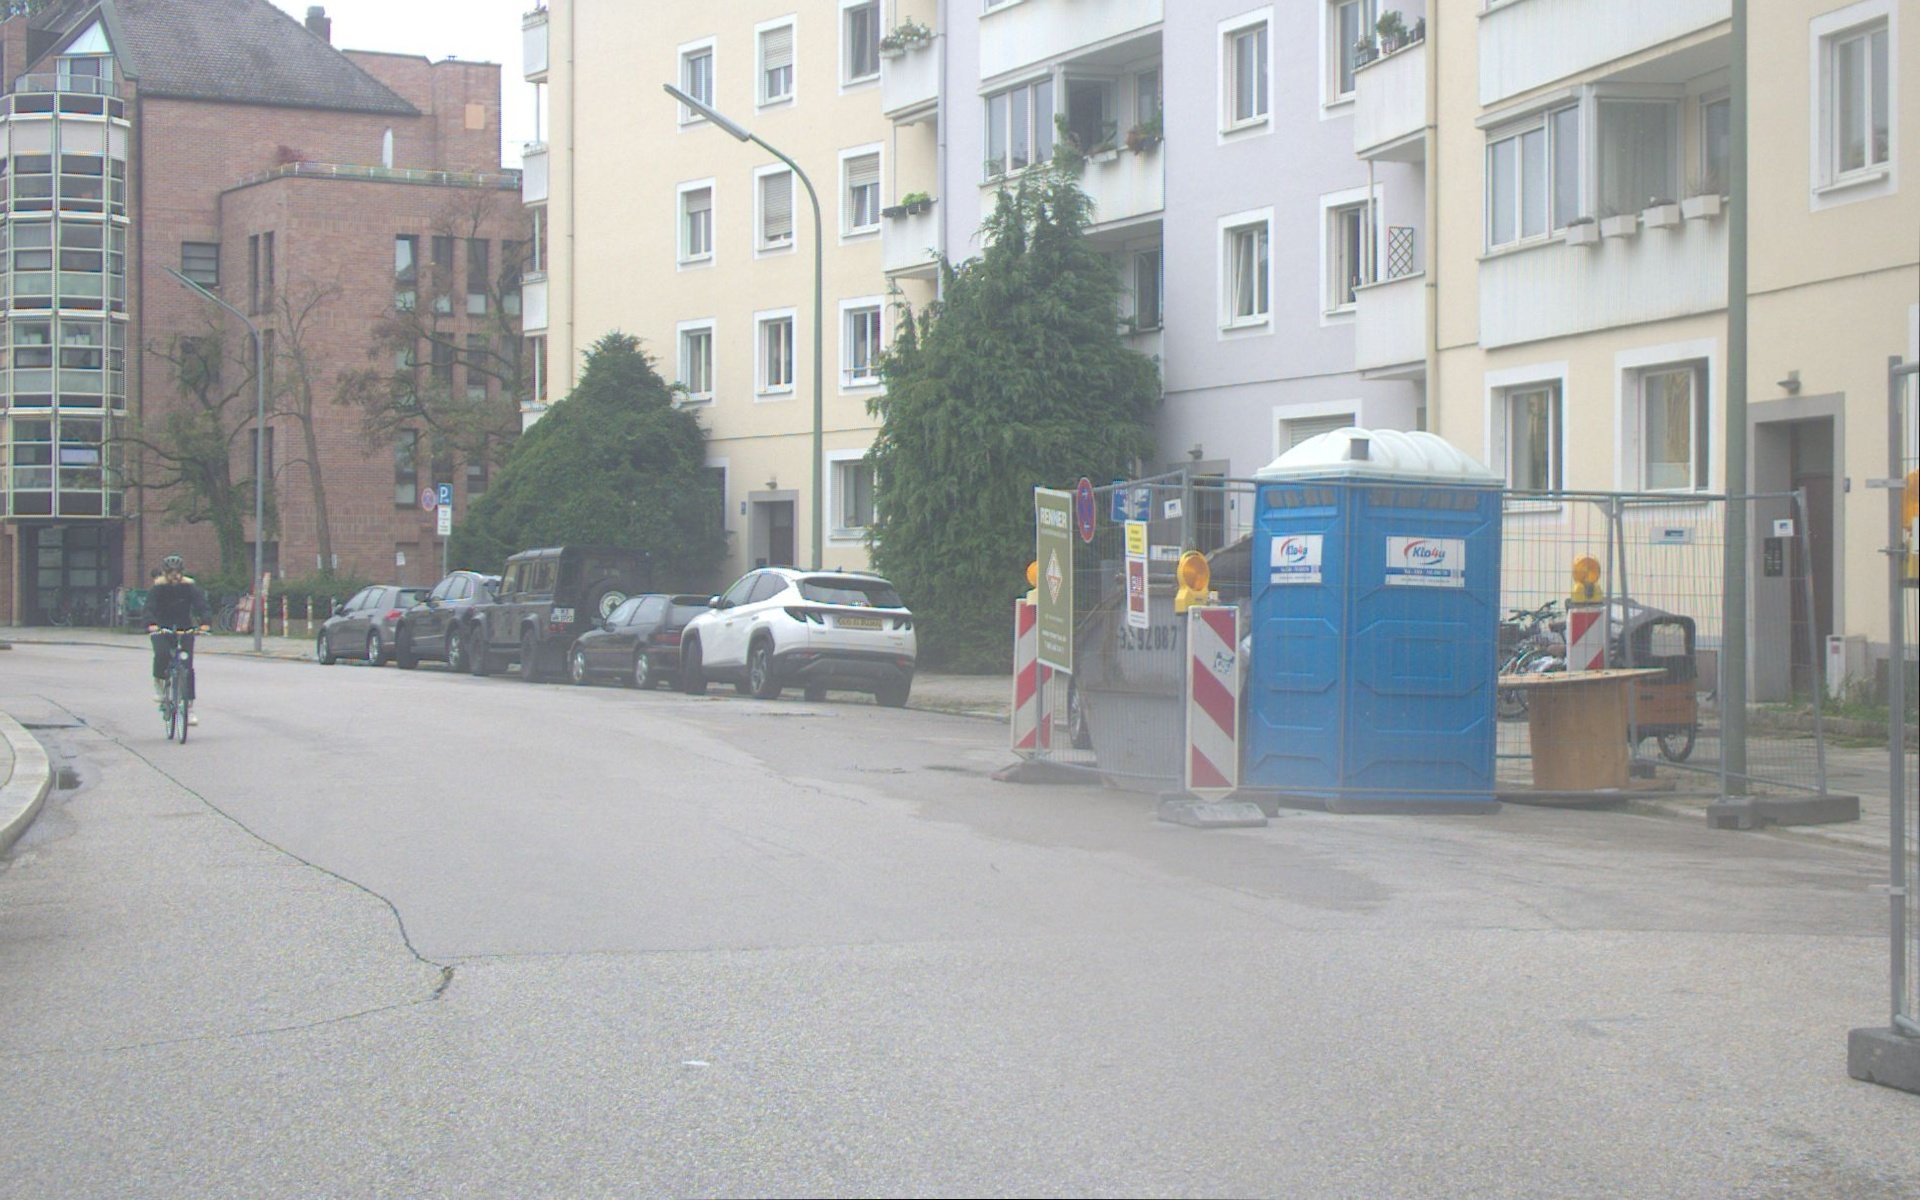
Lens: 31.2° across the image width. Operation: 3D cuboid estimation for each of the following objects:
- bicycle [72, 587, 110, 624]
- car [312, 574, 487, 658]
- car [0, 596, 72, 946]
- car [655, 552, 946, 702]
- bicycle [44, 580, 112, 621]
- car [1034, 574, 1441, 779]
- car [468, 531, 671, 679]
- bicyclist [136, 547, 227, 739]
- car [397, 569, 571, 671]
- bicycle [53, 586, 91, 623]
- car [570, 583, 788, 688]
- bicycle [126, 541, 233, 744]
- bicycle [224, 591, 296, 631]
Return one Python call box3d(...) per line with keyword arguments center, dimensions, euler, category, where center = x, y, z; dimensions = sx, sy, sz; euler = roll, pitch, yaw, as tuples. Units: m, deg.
box3d(center=(-25.937, 0.168, 102.544), dimensions=(0.486, 1.056, 1.996), euler=(2, 0, -32), category="bicycle")
box3d(center=(-9.945, 0.302, 60.769), dimensions=(1.754, 1.392, 4.045), euler=(2, -1, -29), category="car")
box3d(center=(-5.647, 0.750, 13.073), dimensions=(3.996, 1.368, 1.749), euler=(-3, 1, -42), category="car")
box3d(center=(-2.038, 0.294, 42.331), dimensions=(2.025, 1.672, 4.614), euler=(2, 0, -23), category="car")
box3d(center=(-25.853, 0.003, 100.754), dimensions=(1.848, 1.143, 0.488), euler=(2, 0, -23), category="bicycle")
box3d(center=(2.105, 0.553, 27.610), dimensions=(1.830, 1.437, 4.630), euler=(2, 0, -14), category="car")
box3d(center=(-5.898, 0.038, 51.515), dimensions=(1.747, 2.074, 4.517), euler=(2, 0, -23), category="car")
box3d(center=(-7.126, 0.376, 31.508), dimensions=(0.747, 1.711, 1.032), euler=(-1, 1, -10), category="bicyclist")
box3d(center=(-7.842, 0.319, 56.317), dimensions=(1.658, 1.560, 4.515), euler=(2, -1, -23), category="car")
box3d(center=(-26.415, 0.139, 102.261), dimensions=(0.486, 1.056, 1.995), euler=(2, -1, -32), category="bicycle")
box3d(center=(-3.875, 0.486, 46.930), dimensions=(1.658, 1.344, 3.805), euler=(2, -1, -26), category="car")
box3d(center=(-7.174, 0.345, 31.713), dimensions=(0.795, 1.716, 3.116), euler=(-2, 2, -11), category="bicycle")
box3d(center=(-18.094, 0.284, 88.876), dimensions=(1.700, 0.962, 0.546), euler=(2, 0, -29), category="bicycle")
